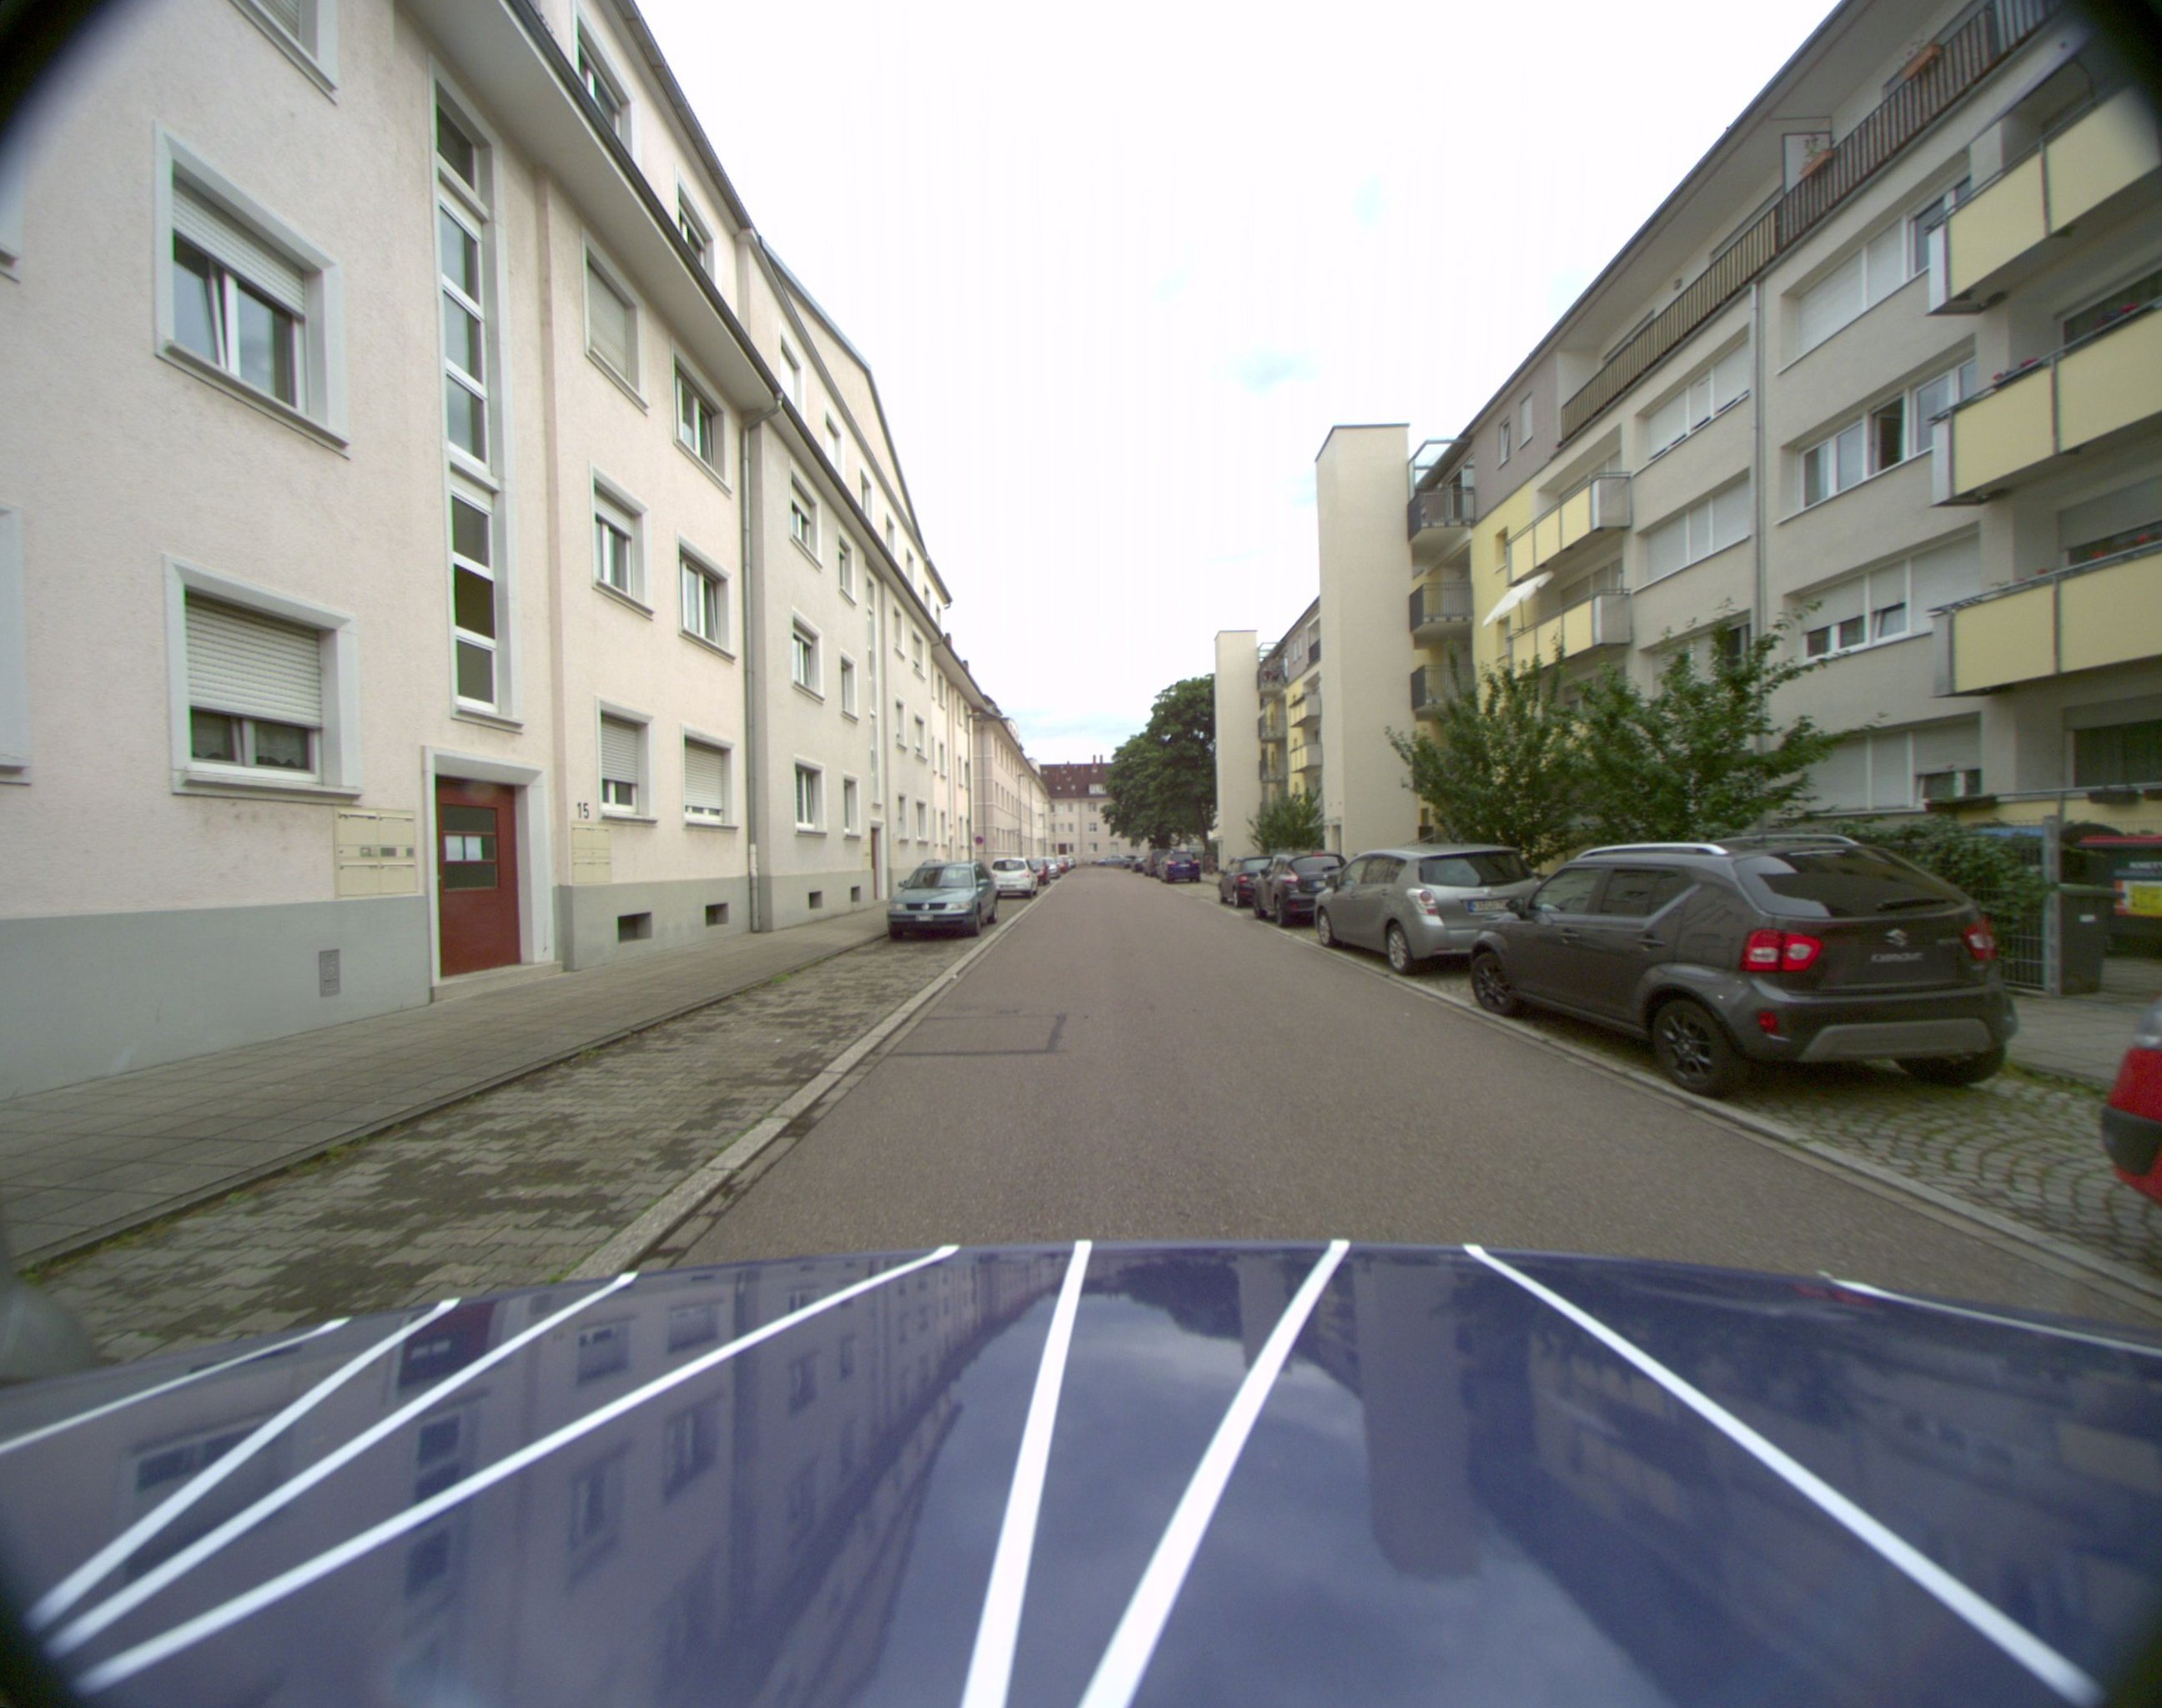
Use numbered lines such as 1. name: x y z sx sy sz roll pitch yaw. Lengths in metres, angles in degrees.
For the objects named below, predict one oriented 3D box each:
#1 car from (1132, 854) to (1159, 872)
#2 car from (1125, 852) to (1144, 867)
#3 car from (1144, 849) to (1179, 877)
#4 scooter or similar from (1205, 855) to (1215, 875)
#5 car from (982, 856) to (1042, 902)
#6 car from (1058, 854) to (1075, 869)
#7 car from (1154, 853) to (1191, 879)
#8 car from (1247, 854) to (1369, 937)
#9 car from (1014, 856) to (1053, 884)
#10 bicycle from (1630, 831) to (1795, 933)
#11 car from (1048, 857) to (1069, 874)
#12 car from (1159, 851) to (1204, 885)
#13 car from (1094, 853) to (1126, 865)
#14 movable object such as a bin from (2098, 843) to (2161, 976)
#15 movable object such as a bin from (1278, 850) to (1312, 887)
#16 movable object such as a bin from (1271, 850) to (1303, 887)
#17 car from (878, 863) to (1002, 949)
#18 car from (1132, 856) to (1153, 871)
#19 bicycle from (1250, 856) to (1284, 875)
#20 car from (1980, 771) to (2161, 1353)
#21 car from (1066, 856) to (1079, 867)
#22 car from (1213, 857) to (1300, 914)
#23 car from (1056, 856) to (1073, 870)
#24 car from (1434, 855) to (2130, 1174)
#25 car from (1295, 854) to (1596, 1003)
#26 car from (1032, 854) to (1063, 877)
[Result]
1. car: 5.764 0.787 68.000 1.919 1.431 4.434 -3 0 -1
2. car: 6.165 0.641 87.999 2.000 1.566 4.210 -3 0 1
3. car: 5.555 0.613 52.973 1.891 1.844 4.785 -1 0 0
4. scooter or similar: 8.111 0.673 47.671 0.438 1.236 1.135 -1 0 1
5. car: -2.519 0.880 28.638 1.788 1.590 3.805 -1 0 2
6. car: -1.581 0.858 86.293 1.764 1.595 3.956 -1 0 1
7. car: 5.569 0.731 46.563 1.625 1.437 3.818 -3 0 -3
8. car: 4.898 0.830 16.920 1.657 1.521 3.895 -3 0 3
9. car: -2.463 0.818 40.331 1.758 1.401 3.936 -1 0 1
10. bicycle: 8.008 0.321 9.742 0.553 1.185 1.727 -1 0 -6
11. car: -2.013 1.046 69.527 1.758 1.477 3.773 0 0 1
12. car: 5.314 0.702 40.658 1.804 1.617 4.472 -3 0 1
13. car: 4.219 0.721 111.433 4.545 1.551 1.565 -1 0 5
14. movable object such as a bin: 11.137 0.543 7.471 0.895 1.316 1.037 -1 0 -1
15. movable object such as a bin: 8.714 0.574 30.995 1.004 1.438 1.314 -2 1 1
16. movable object such as a bin: 8.774 0.598 32.430 1.004 1.492 1.314 -2 1 1
17. car: -2.762 0.956 15.828 1.729 1.460 4.264 -1 0 1
18. car: 5.907 0.869 73.491 1.765 1.257 4.210 -3 0 1
19. bicycle: 11.211 0.703 45.820 1.857 1.130 0.716 -1 0 -2
20. car: 4.681 0.637 0.532 2.157 1.942 4.921 -3 0 -1
21. car: -1.112 0.941 97.049 1.563 1.334 3.789 -1 0 1
22. car: 5.095 0.852 22.528 1.647 1.430 3.856 -3 0 1
23. car: -1.745 0.940 81.234 1.587 1.500 3.486 -1 0 1
24. car: 4.596 0.844 5.988 1.725 1.561 4.054 -3 0 1
25. car: 4.779 0.831 10.951 1.839 1.561 4.861 -3 0 -1
26. car: -2.167 0.737 50.435 1.792 1.455 4.040 -1 0 1
